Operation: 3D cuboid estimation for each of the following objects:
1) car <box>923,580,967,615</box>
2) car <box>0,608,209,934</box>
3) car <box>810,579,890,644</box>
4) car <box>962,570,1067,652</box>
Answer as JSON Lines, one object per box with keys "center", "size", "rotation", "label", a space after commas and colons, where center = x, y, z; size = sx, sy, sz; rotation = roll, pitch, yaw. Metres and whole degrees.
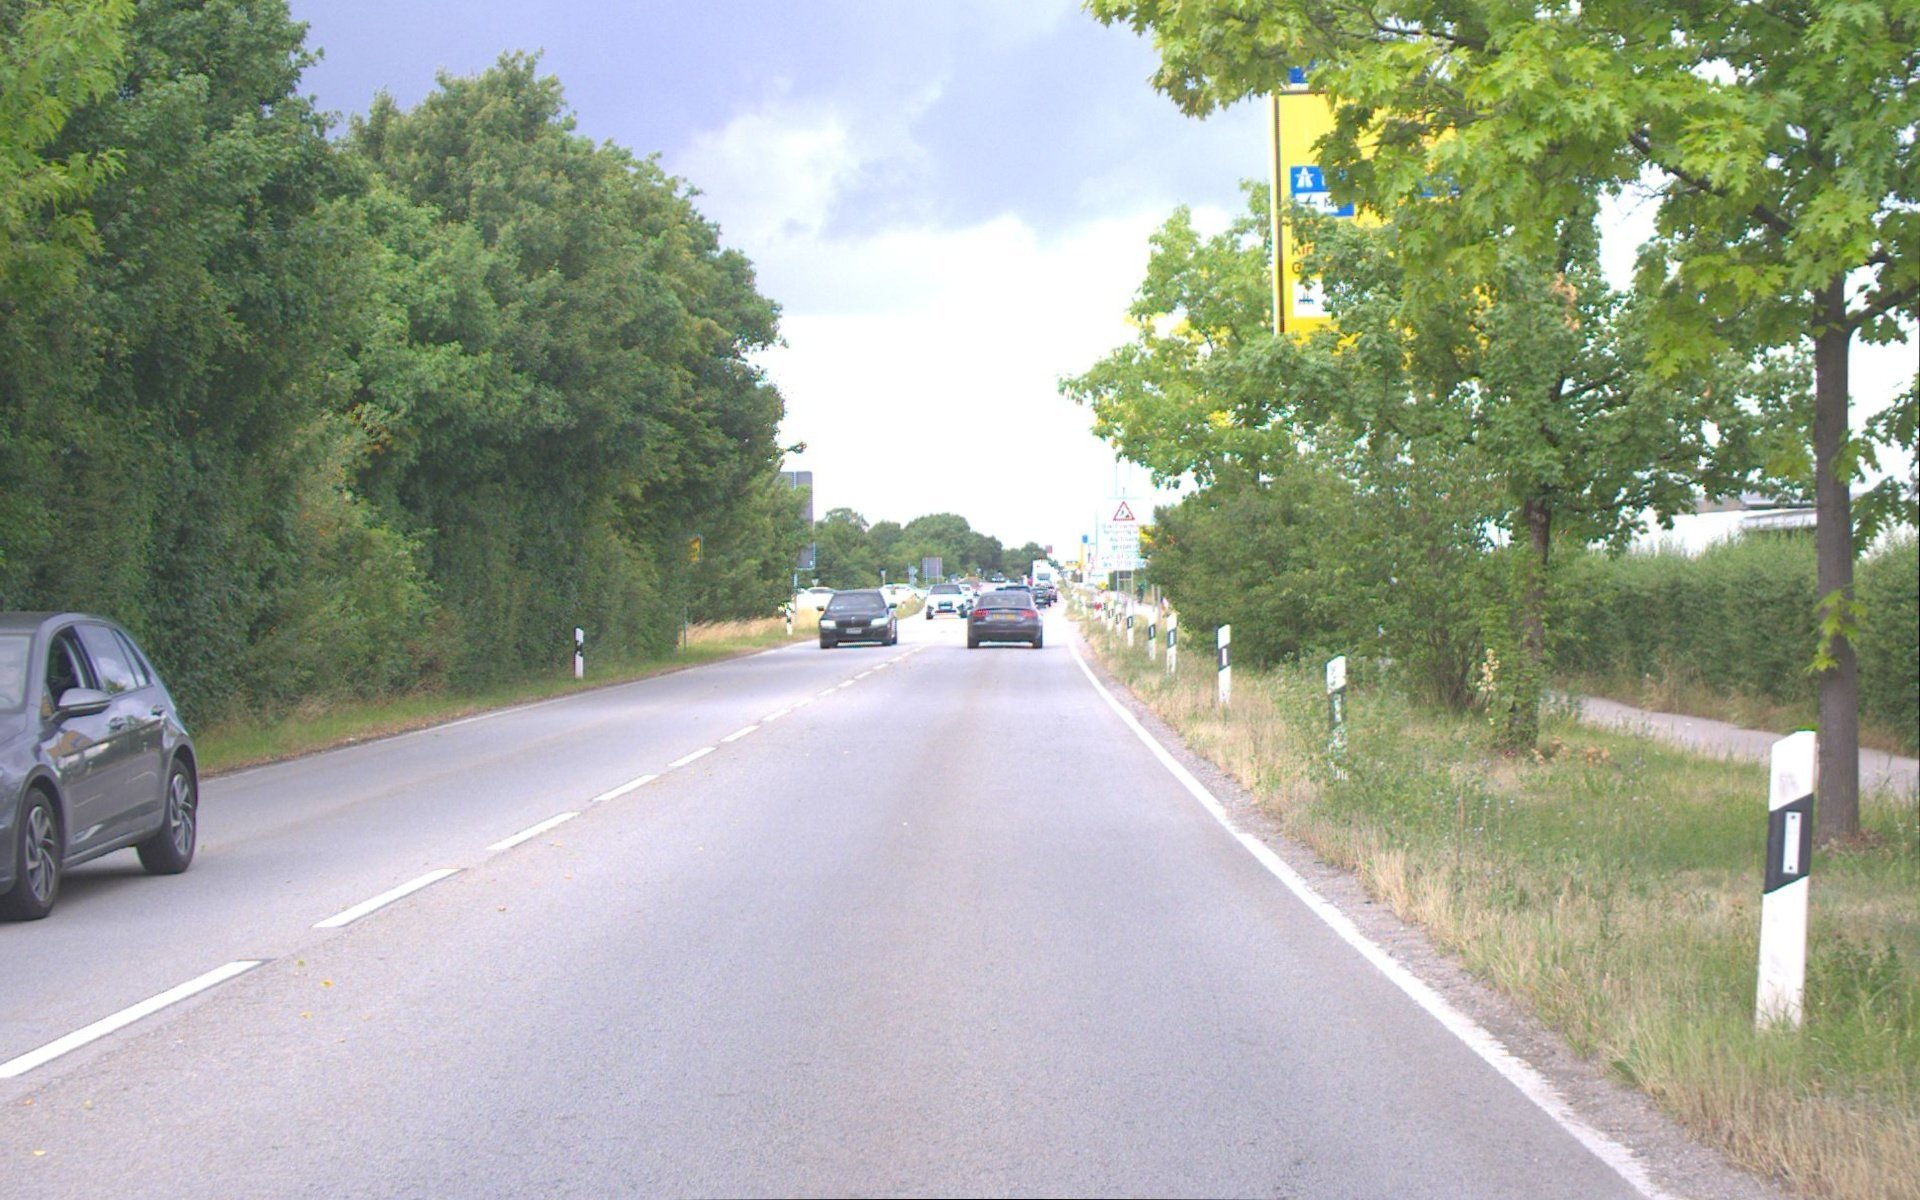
{"center": [-0.708, -0.129, 167.211], "size": [1.993, 1.678, 4.809], "rotation": [-1, 0, 2], "label": "car"}
{"center": [-5.222, 0.785, 17.110], "size": [1.993, 1.414, 4.478], "rotation": [-2, 0, -1], "label": "car"}
{"center": [-2.862, 0.292, 90.027], "size": [1.940, 1.581, 4.556], "rotation": [-2, 0, -1], "label": "car"}
{"center": [1.303, 0.264, 84.038], "size": [2.372, 1.874, 4.478], "rotation": [-2, 0, -1], "label": "car"}
